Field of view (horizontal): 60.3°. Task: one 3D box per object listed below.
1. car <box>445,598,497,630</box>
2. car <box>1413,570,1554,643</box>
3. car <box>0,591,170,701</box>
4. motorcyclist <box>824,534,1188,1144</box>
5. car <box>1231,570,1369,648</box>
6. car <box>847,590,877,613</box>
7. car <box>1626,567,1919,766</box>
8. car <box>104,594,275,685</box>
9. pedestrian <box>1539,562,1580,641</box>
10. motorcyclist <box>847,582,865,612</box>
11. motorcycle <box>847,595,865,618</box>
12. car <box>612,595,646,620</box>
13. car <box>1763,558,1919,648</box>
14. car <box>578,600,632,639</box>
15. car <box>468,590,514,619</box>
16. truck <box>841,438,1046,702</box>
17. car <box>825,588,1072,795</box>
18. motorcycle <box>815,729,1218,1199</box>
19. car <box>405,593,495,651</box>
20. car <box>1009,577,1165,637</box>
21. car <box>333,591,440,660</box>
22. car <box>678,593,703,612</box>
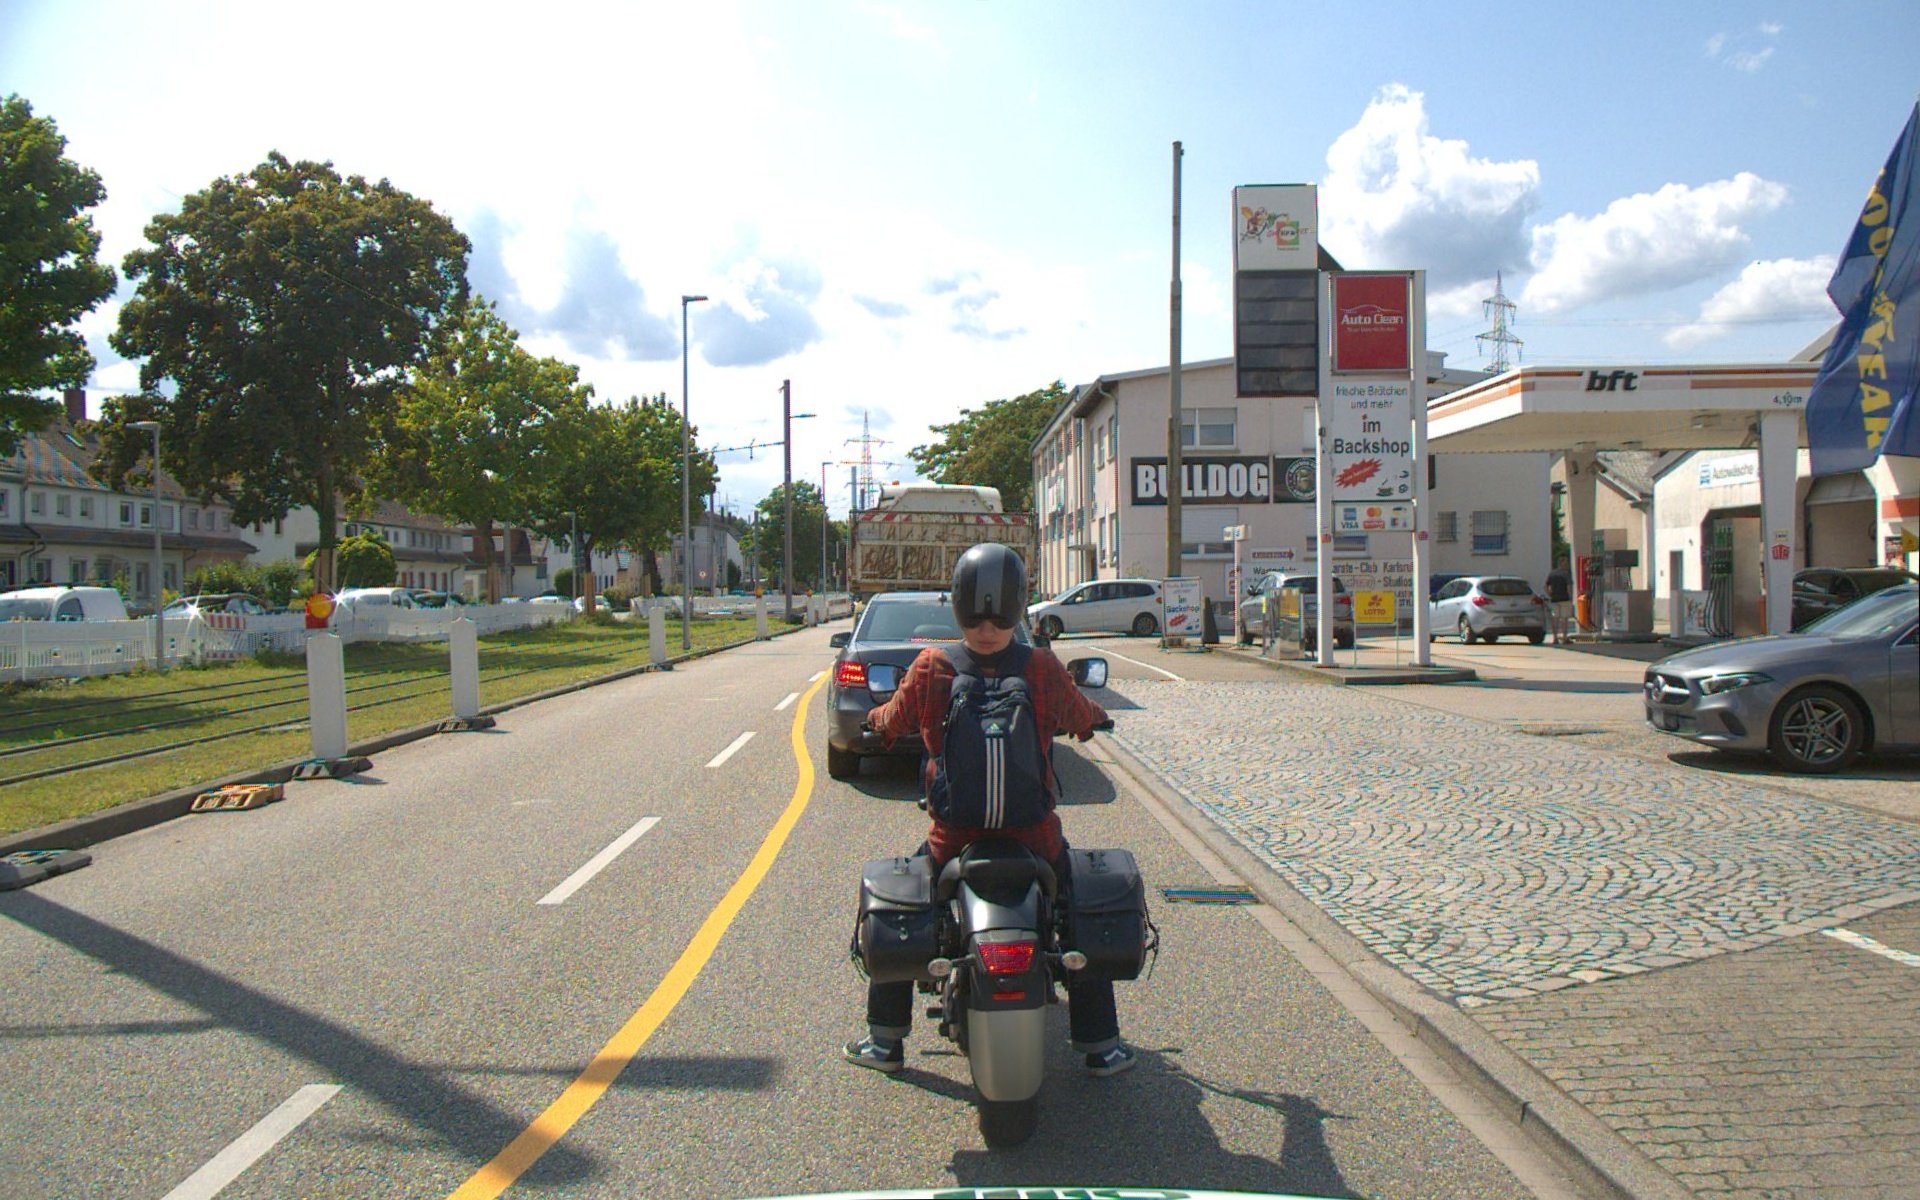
[{"bbox_3d":[-28.306,0.769,95.838,1.740,1.753,4.127,-1,0,-1],"label":"car"},{"bbox_3d":[11.717,0.117,37.271,1.770,1.529,3.831,-1,0,-3],"label":"car"},{"bbox_3d":[-16.431,0.780,30.393,1.740,1.853,4.363,-1,0,-1],"label":"car"},{"bbox_3d":[0.117,0.641,5.022,0.959,1.630,1.087,-1,0,-1],"label":"motorcyclist"},{"bbox_3d":[7.452,0.173,36.635,1.636,1.589,4.236,-1,0,-8],"label":"car"},{"bbox_3d":[-6.709,0.063,113.587,1.786,1.478,4.323,-2,1,-1],"label":"car"},{"bbox_3d":[7.581,0.459,12.806,4.181,1.440,1.675,-1,0,7],"label":"car"},{"bbox_3d":[-16.678,0.808,36.029,1.740,1.805,4.227,-1,0,-1],"label":"car"},{"bbox_3d":[12.948,0.028,35.717,0.696,1.685,0.546,-1,0,35],"label":"pedestrian"},{"bbox_3d":[-5.007,-0.143,79.948,0.851,1.402,0.800,-1,0,-4],"label":"motorcyclist"},{"bbox_3d":[-5.008,0.304,79.915,0.851,1.039,2.243,-1,0,-3],"label":"motorcycle"},{"bbox_3d":[-24.972,0.537,124.855,1.740,1.753,4.127,-1,0,-1],"label":"car"},{"bbox_3d":[16.613,0.023,30.326,1.770,1.529,3.832,-1,0,-3],"label":"car"},{"bbox_3d":[-17.062,0.902,79.689,1.740,1.753,4.127,-1,0,-1],"label":"car"},{"bbox_3d":[-29.433,0.266,103.955,1.740,1.753,4.127,-1,0,-1],"label":"car"},{"bbox_3d":[-0.268,-0.425,25.369,2.585,3.354,8.055,-1,0,-1],"label":"truck"},{"bbox_3d":[-0.109,0.655,14.116,1.786,1.478,3.999,1,0,-1],"label":"car"},{"bbox_3d":[0.119,0.995,5.328,0.959,0.913,2.653,-1,0,-1],"label":"motorcycle"},{"bbox_3d":[-16.978,0.694,55.264,1.740,1.837,4.127,-1,0,-1],"label":"car"},{"bbox_3d":[3.583,0.181,47.046,4.152,1.570,1.669,-1,0,-9],"label":"car"},{"bbox_3d":[-16.946,0.710,49.086,1.740,1.900,4.127,-1,0,-1],"label":"car"},{"bbox_3d":[-26.087,0.270,160.262,1.740,1.753,4.250,-1,0,-1],"label":"car"}]
